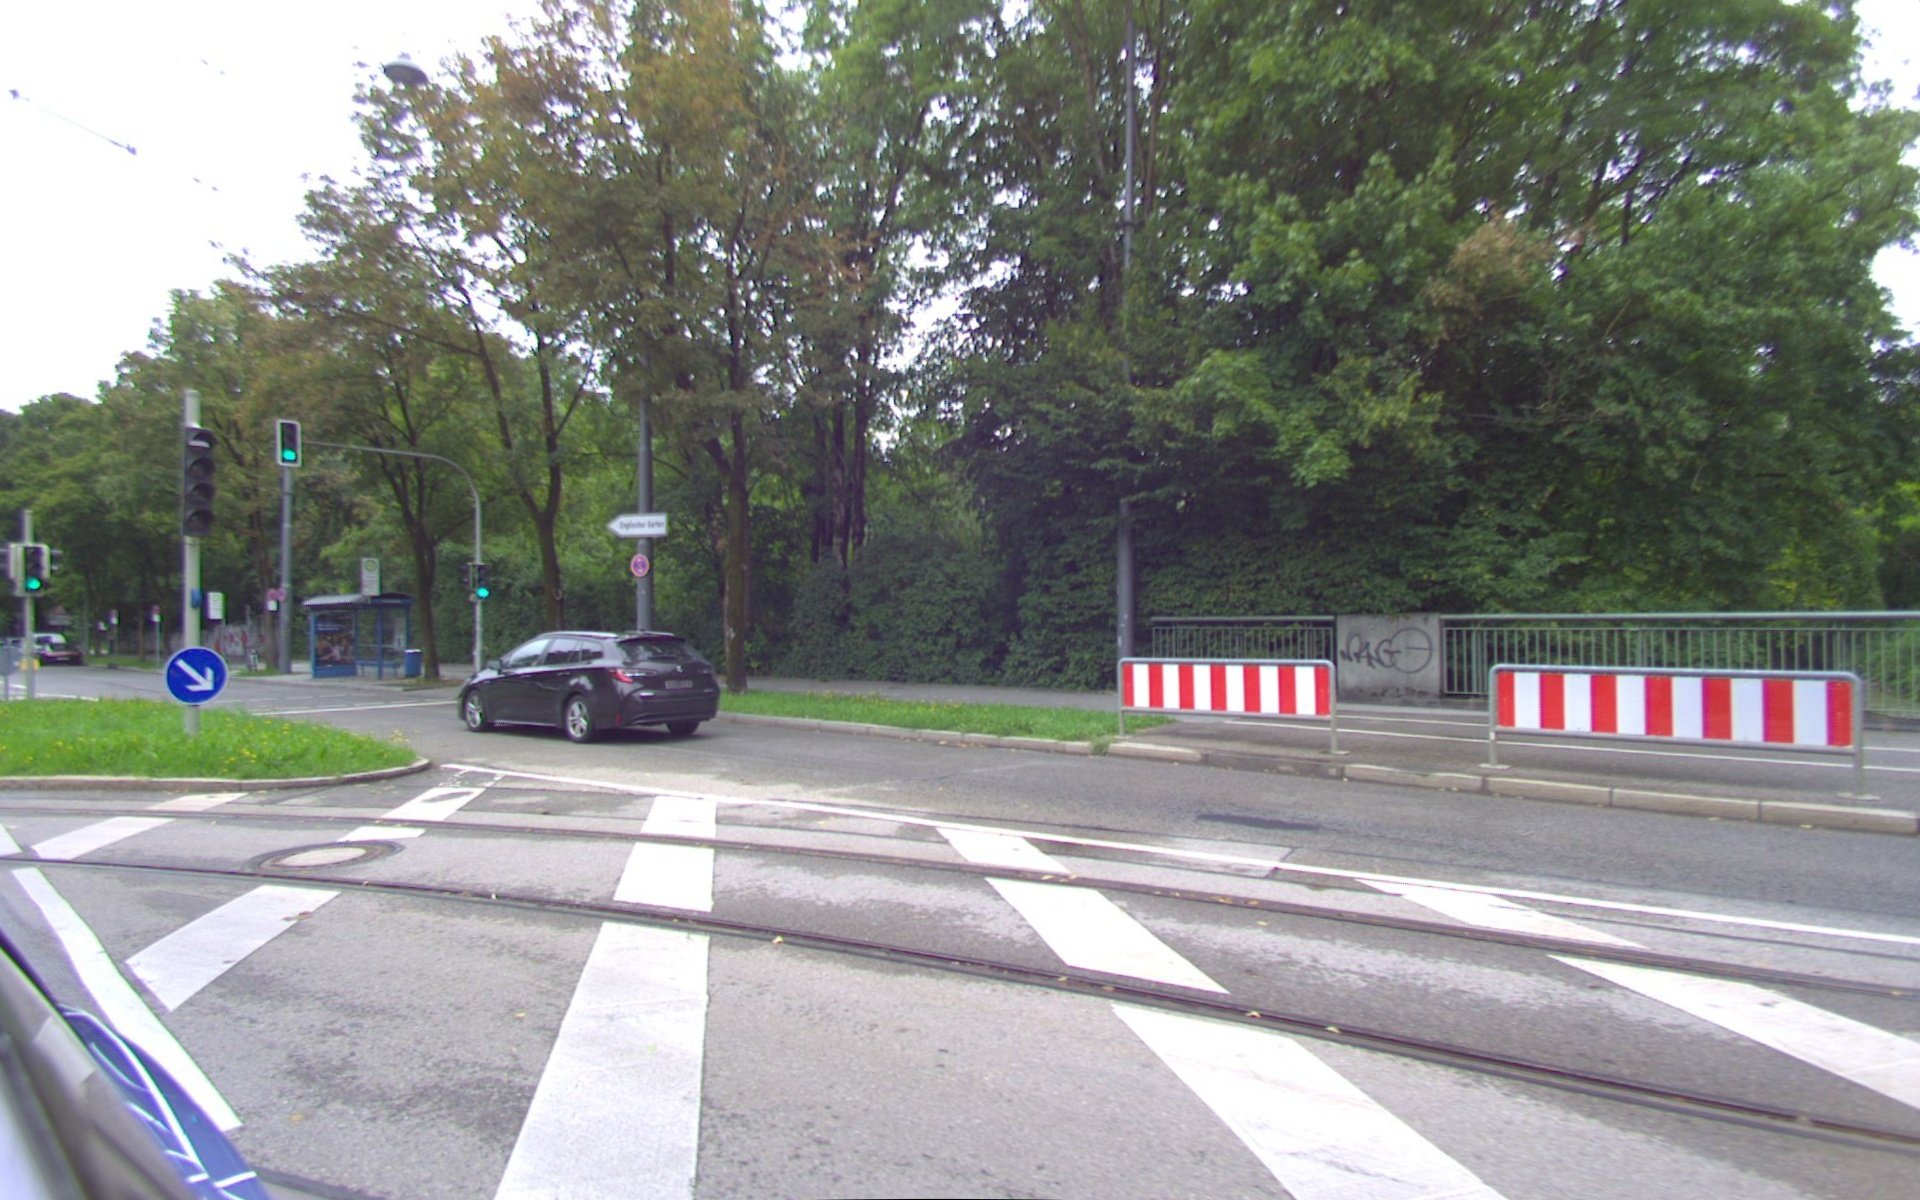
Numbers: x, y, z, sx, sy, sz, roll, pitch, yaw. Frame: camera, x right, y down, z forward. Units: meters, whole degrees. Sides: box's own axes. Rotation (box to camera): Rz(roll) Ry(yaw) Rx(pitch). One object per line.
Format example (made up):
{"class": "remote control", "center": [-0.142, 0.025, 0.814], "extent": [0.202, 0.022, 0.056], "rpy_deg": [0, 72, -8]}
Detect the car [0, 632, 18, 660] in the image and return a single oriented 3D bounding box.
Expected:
{"class": "car", "center": [-66.106, 3.158, 69.320], "extent": [3.997, 1.739, 1.864], "rpy_deg": [-1, 1, 41]}

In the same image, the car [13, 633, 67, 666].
{"class": "car", "center": [-54.682, 2.912, 60.121], "extent": [3.997, 1.739, 1.864], "rpy_deg": [-1, 1, 41]}

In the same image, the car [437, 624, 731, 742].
{"class": "car", "center": [-5.385, 1.080, 14.162], "extent": [4.834, 1.399, 1.607], "rpy_deg": [-2, -4, 39]}

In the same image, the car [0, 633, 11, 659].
{"class": "car", "center": [-69.866, 3.340, 72.828], "extent": [3.997, 1.739, 1.864], "rpy_deg": [-1, 1, 41]}

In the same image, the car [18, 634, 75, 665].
{"class": "car", "center": [-50.600, 2.721, 56.040], "extent": [3.997, 1.552, 1.864], "rpy_deg": [-1, 1, 41]}
